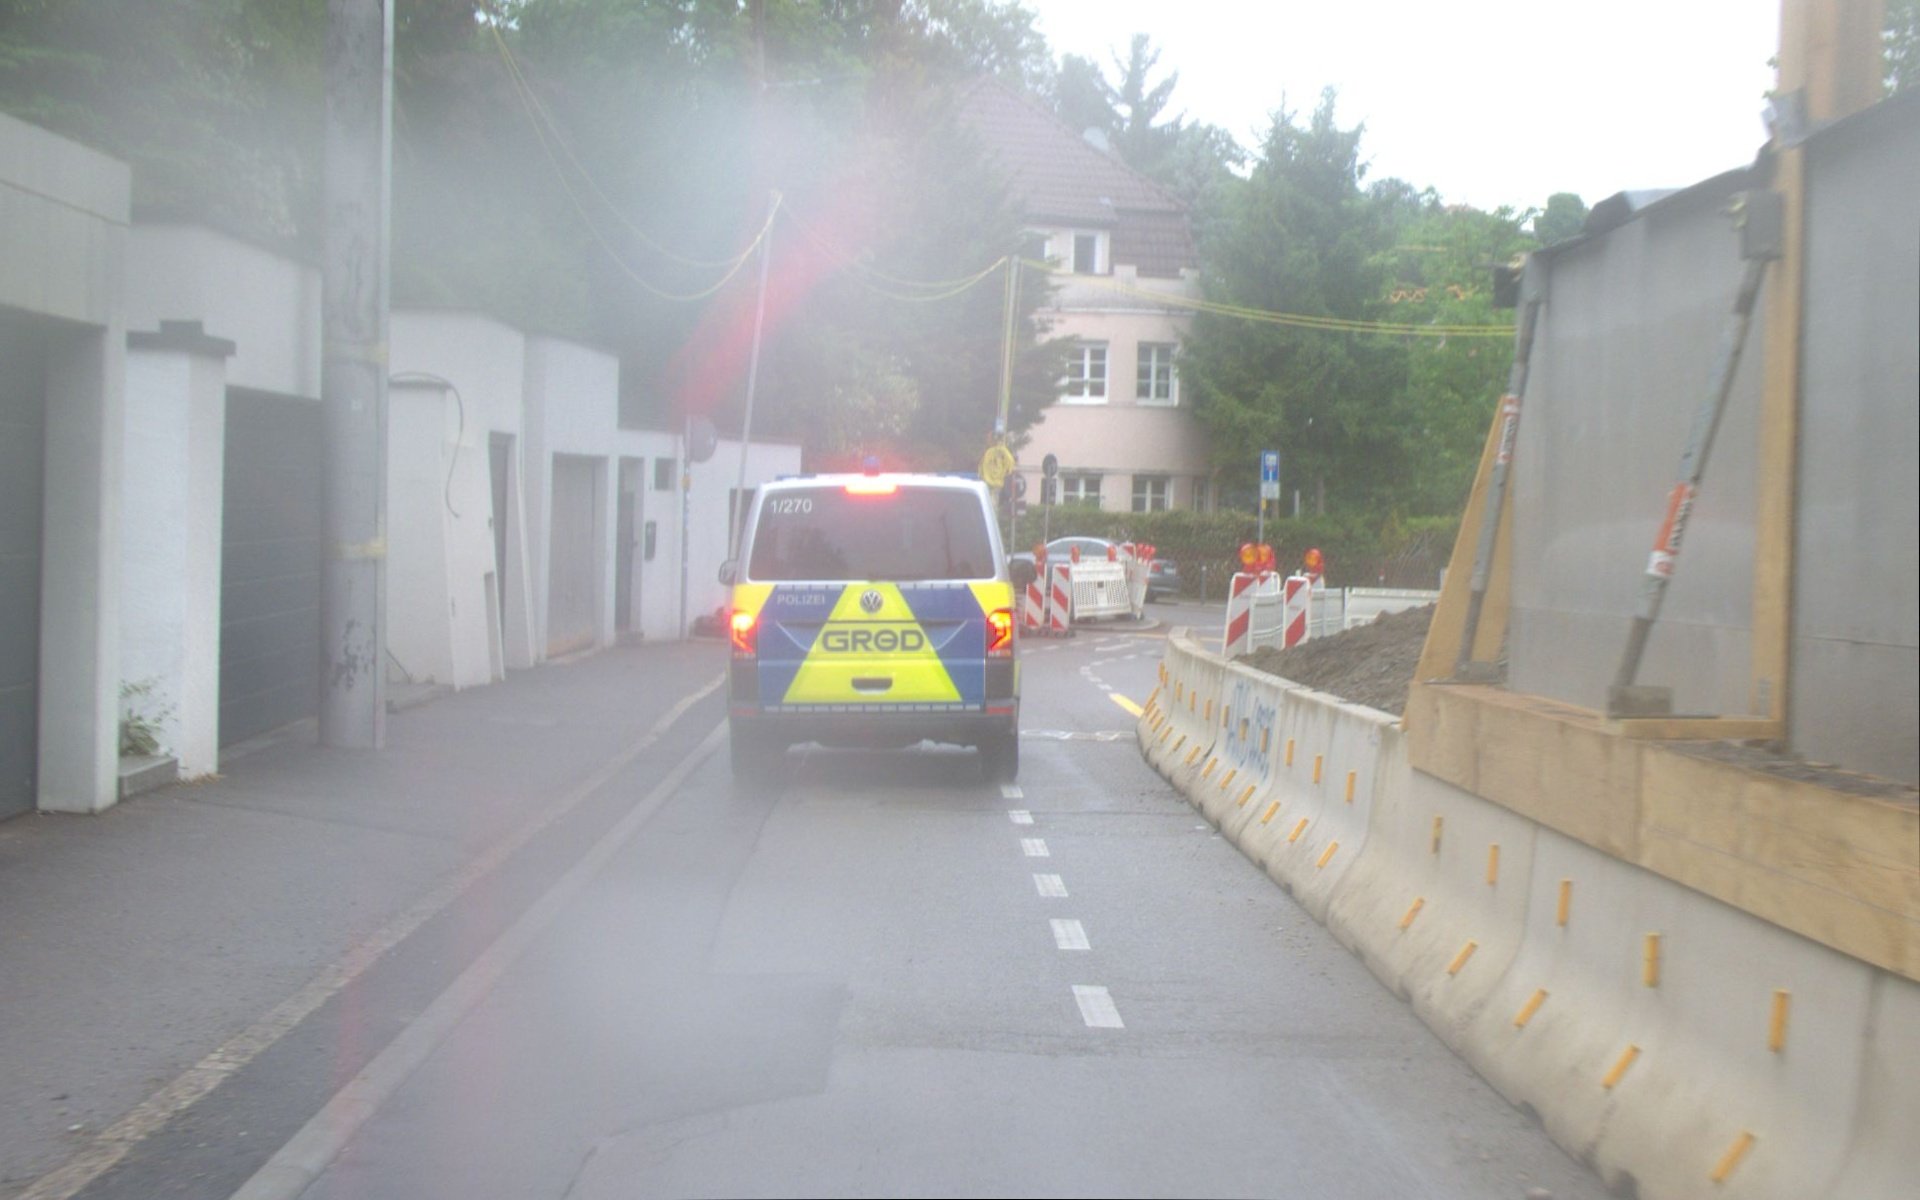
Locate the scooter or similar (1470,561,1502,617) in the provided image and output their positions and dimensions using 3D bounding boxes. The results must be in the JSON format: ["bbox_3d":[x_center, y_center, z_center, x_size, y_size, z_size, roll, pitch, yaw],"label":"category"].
[{"bbox_3d":[11.273,-0.234,73.731,0.464,1.182,1.025,3,0,0],"label":"scooter or similar"}]

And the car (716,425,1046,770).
[{"bbox_3d":[-0.506,-0.019,23.254,1.908,2.003,4.440,3,0,-1],"label":"car"}]

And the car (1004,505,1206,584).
[{"bbox_3d":[3.171,-1.219,75.367,3.994,1.512,1.725,3,0,30],"label":"car"}]
